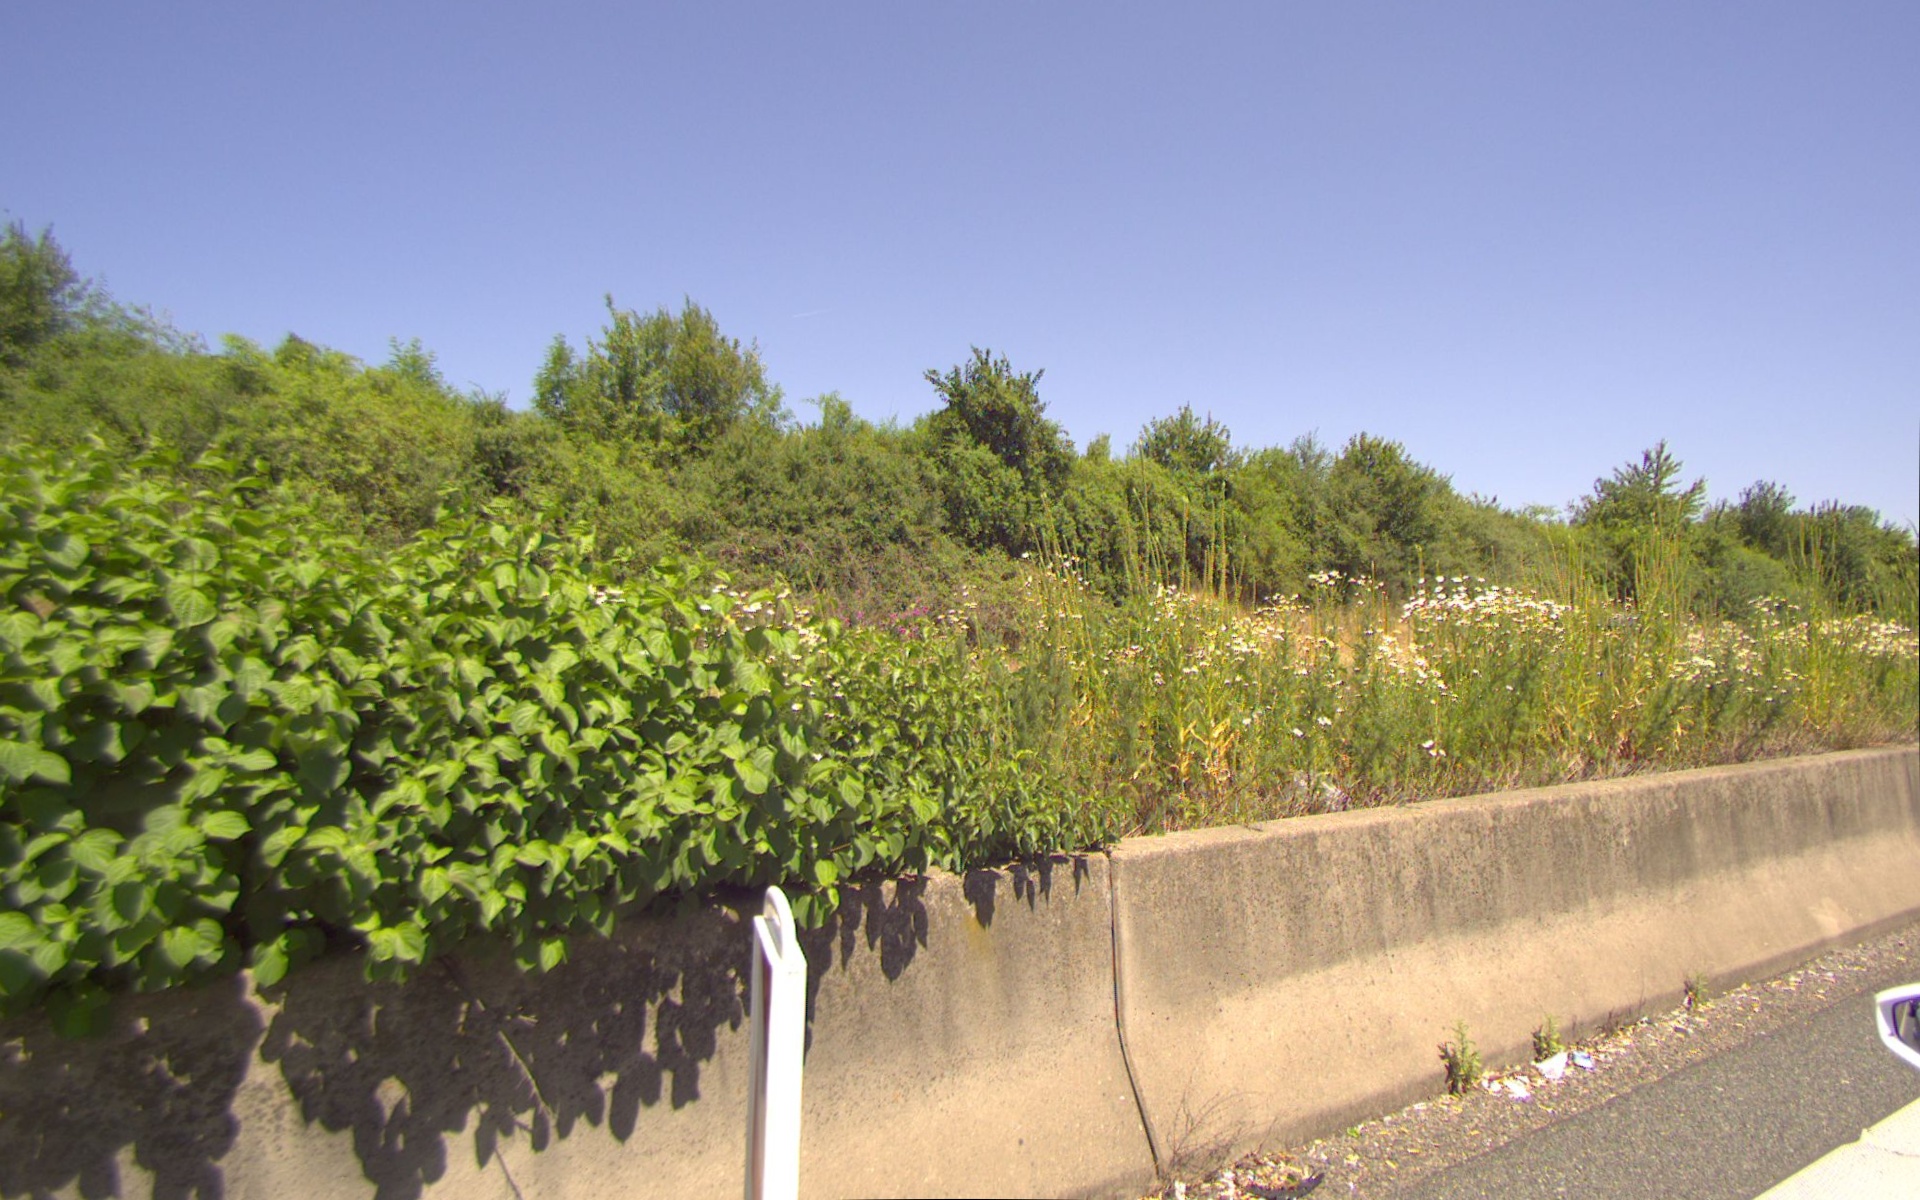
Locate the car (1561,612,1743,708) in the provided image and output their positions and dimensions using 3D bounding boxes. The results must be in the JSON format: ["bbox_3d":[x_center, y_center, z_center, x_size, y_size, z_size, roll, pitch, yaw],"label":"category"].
[{"bbox_3d":[14.743,1.235,21.361,3.954,1.888,1.695,1,-2,-31],"label":"car"}]
